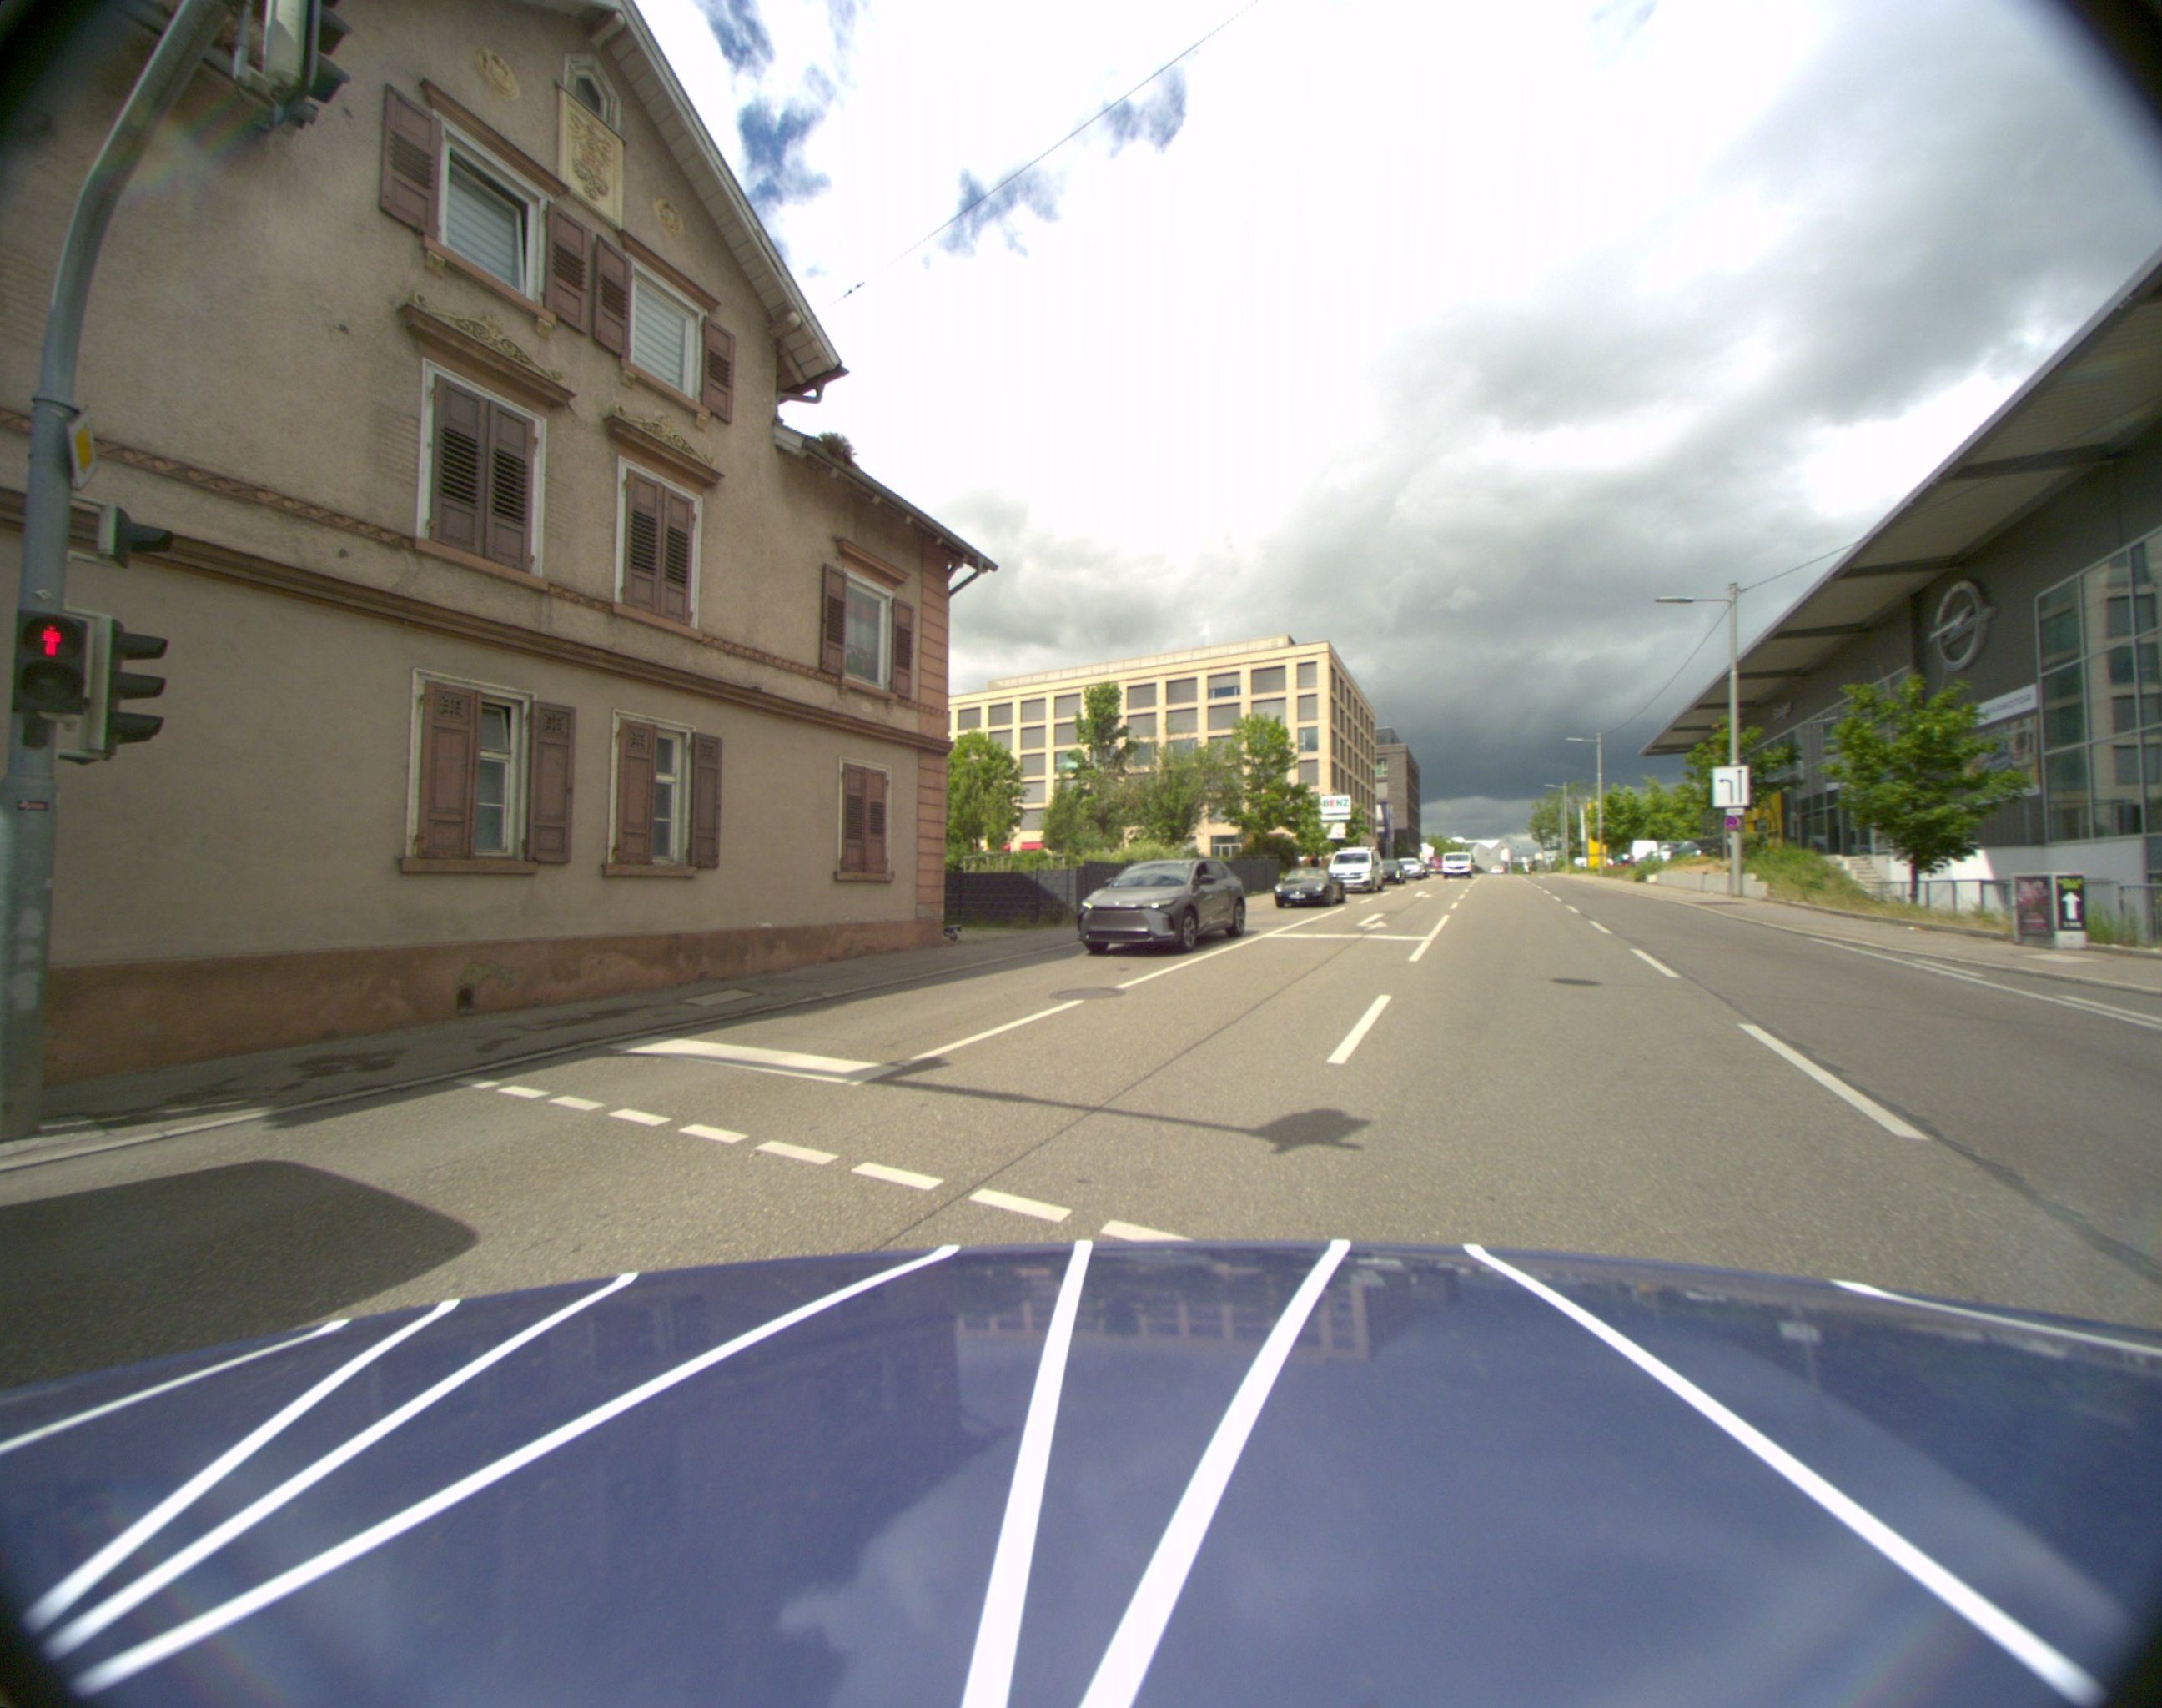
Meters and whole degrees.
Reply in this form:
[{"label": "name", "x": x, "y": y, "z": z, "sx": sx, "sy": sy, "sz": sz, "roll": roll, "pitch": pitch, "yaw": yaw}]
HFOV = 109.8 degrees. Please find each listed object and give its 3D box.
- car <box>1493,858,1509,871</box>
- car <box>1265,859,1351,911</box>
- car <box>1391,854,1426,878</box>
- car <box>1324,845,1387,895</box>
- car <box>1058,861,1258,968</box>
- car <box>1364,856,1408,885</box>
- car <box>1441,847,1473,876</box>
[{"label": "car", "x": 67.360, "y": 1.723, "z": 122.019, "sx": 1.995, "sy": 1.863, "sz": 4.998, "roll": -2, "pitch": 1, "yaw": 27}, {"label": "car", "x": 7.703, "y": 0.978, "z": 25.541, "sx": 1.995, "sy": 1.458, "sz": 4.337, "roll": -2, "pitch": 1, "yaw": 27}, {"label": "car", "x": 23.631, "y": 0.831, "z": 54.785, "sx": 1.995, "sy": 1.525, "sz": 4.337, "roll": -2, "pitch": 1, "yaw": 27}, {"label": "car", "x": 12.627, "y": 0.688, "z": 34.729, "sx": 1.995, "sy": 2.000, "sz": 4.824, "roll": -2, "pitch": 1, "yaw": 28}, {"label": "car", "x": 1.689, "y": 0.964, "z": 14.243, "sx": 1.995, "sy": 1.568, "sz": 5.107, "roll": -2, "pitch": -1, "yaw": 27}, {"label": "car", "x": 18.007, "y": 0.923, "z": 44.692, "sx": 1.995, "sy": 1.458, "sz": 4.337, "roll": -2, "pitch": 1, "yaw": 27}, {"label": "car", "x": 28.321, "y": 0.552, "z": 57.181, "sx": 1.995, "sy": 1.981, "sz": 4.998, "roll": -2, "pitch": 1, "yaw": 27}]
